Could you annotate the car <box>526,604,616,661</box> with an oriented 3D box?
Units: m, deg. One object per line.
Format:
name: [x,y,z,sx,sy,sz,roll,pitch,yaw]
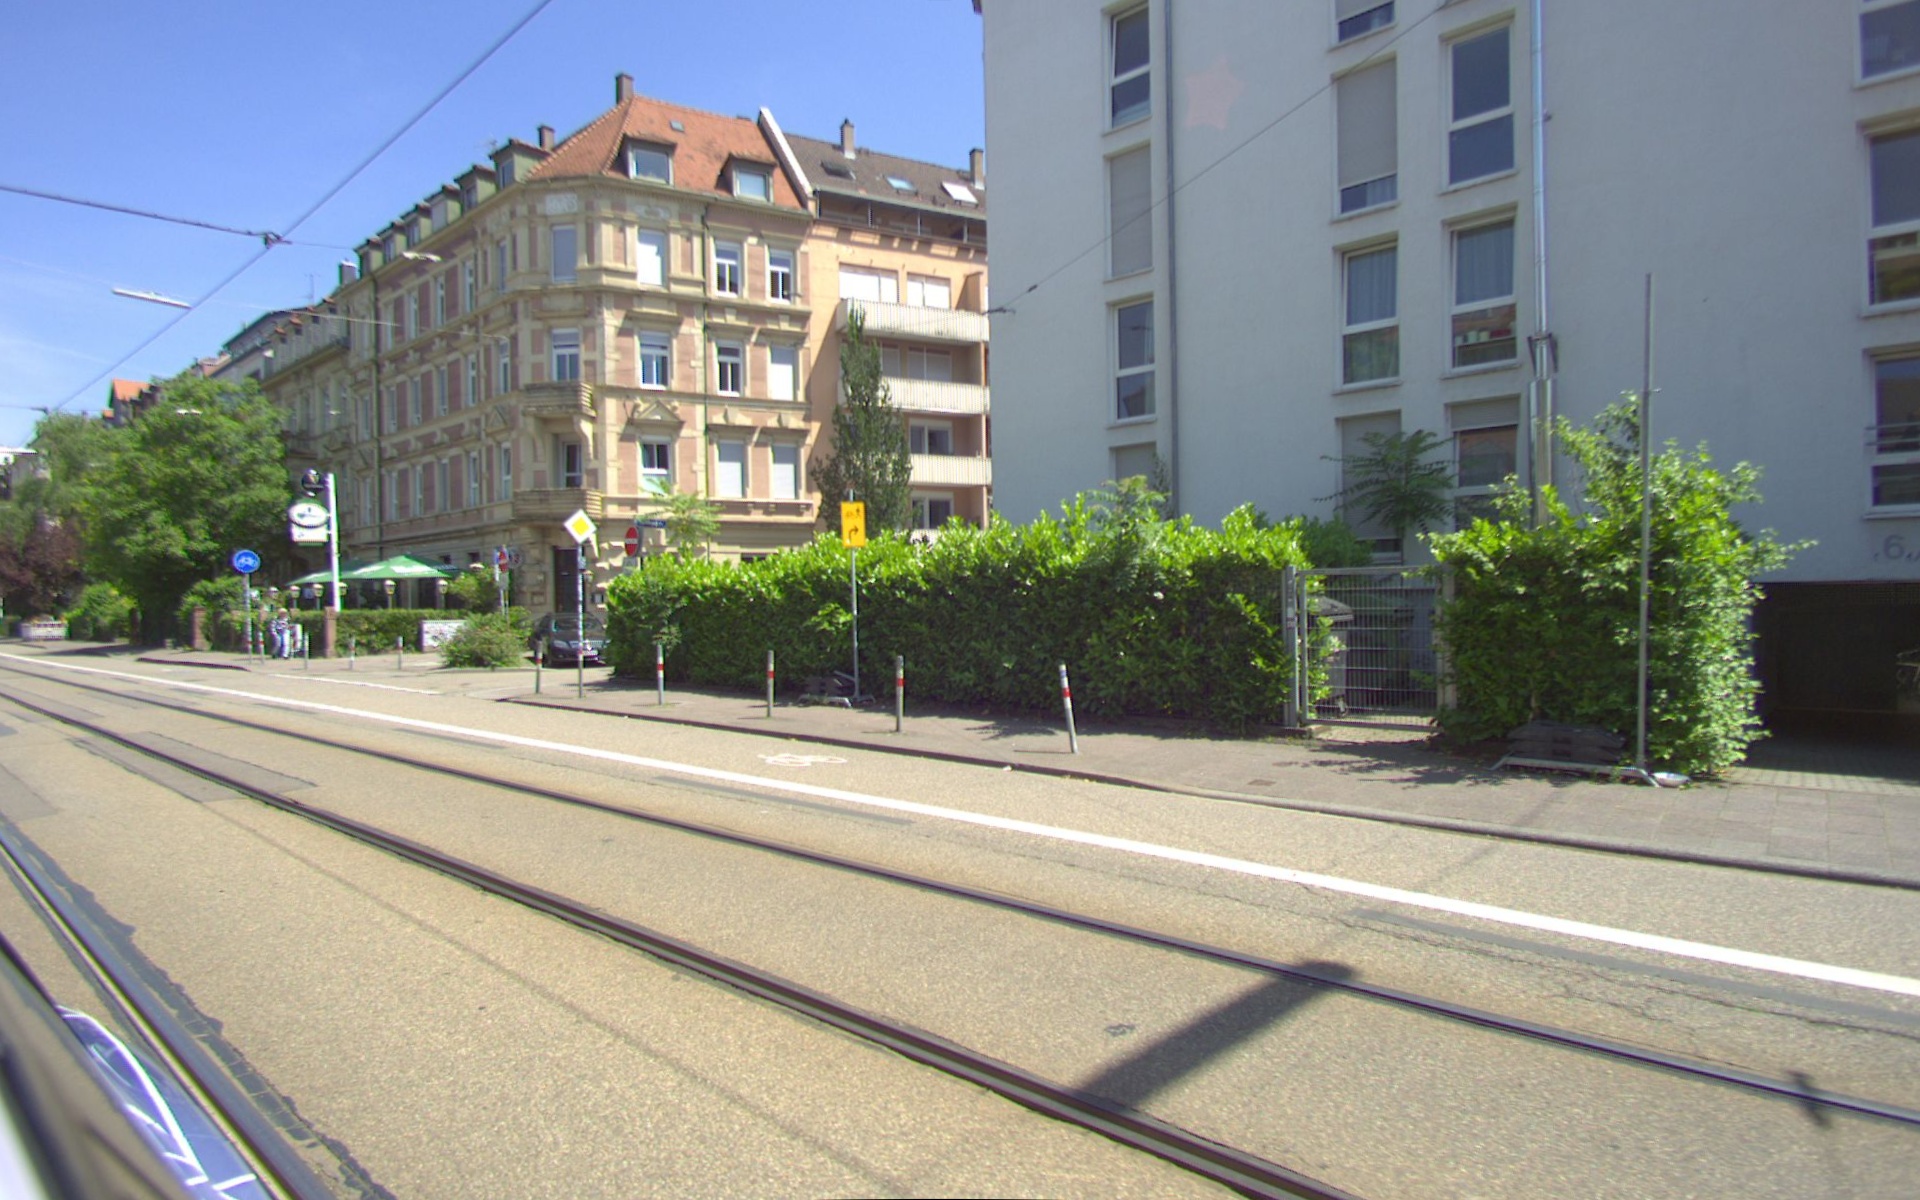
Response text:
car: [-10.995,0.856,28.480,1.568,1.449,3.768,-2,1,-34]

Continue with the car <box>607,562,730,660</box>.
car: [-8.799,0.294,30.082,2.090,2.609,6.208,-1,0,-30]

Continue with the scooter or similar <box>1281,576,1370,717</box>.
scooter or similar: [4.042,0.479,11.165,0.597,1.461,0.998,0,1,41]

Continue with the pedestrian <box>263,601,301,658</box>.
pedestrian: [-20.367,0.870,30.384,0.940,1.654,0.732,-1,0,44]
